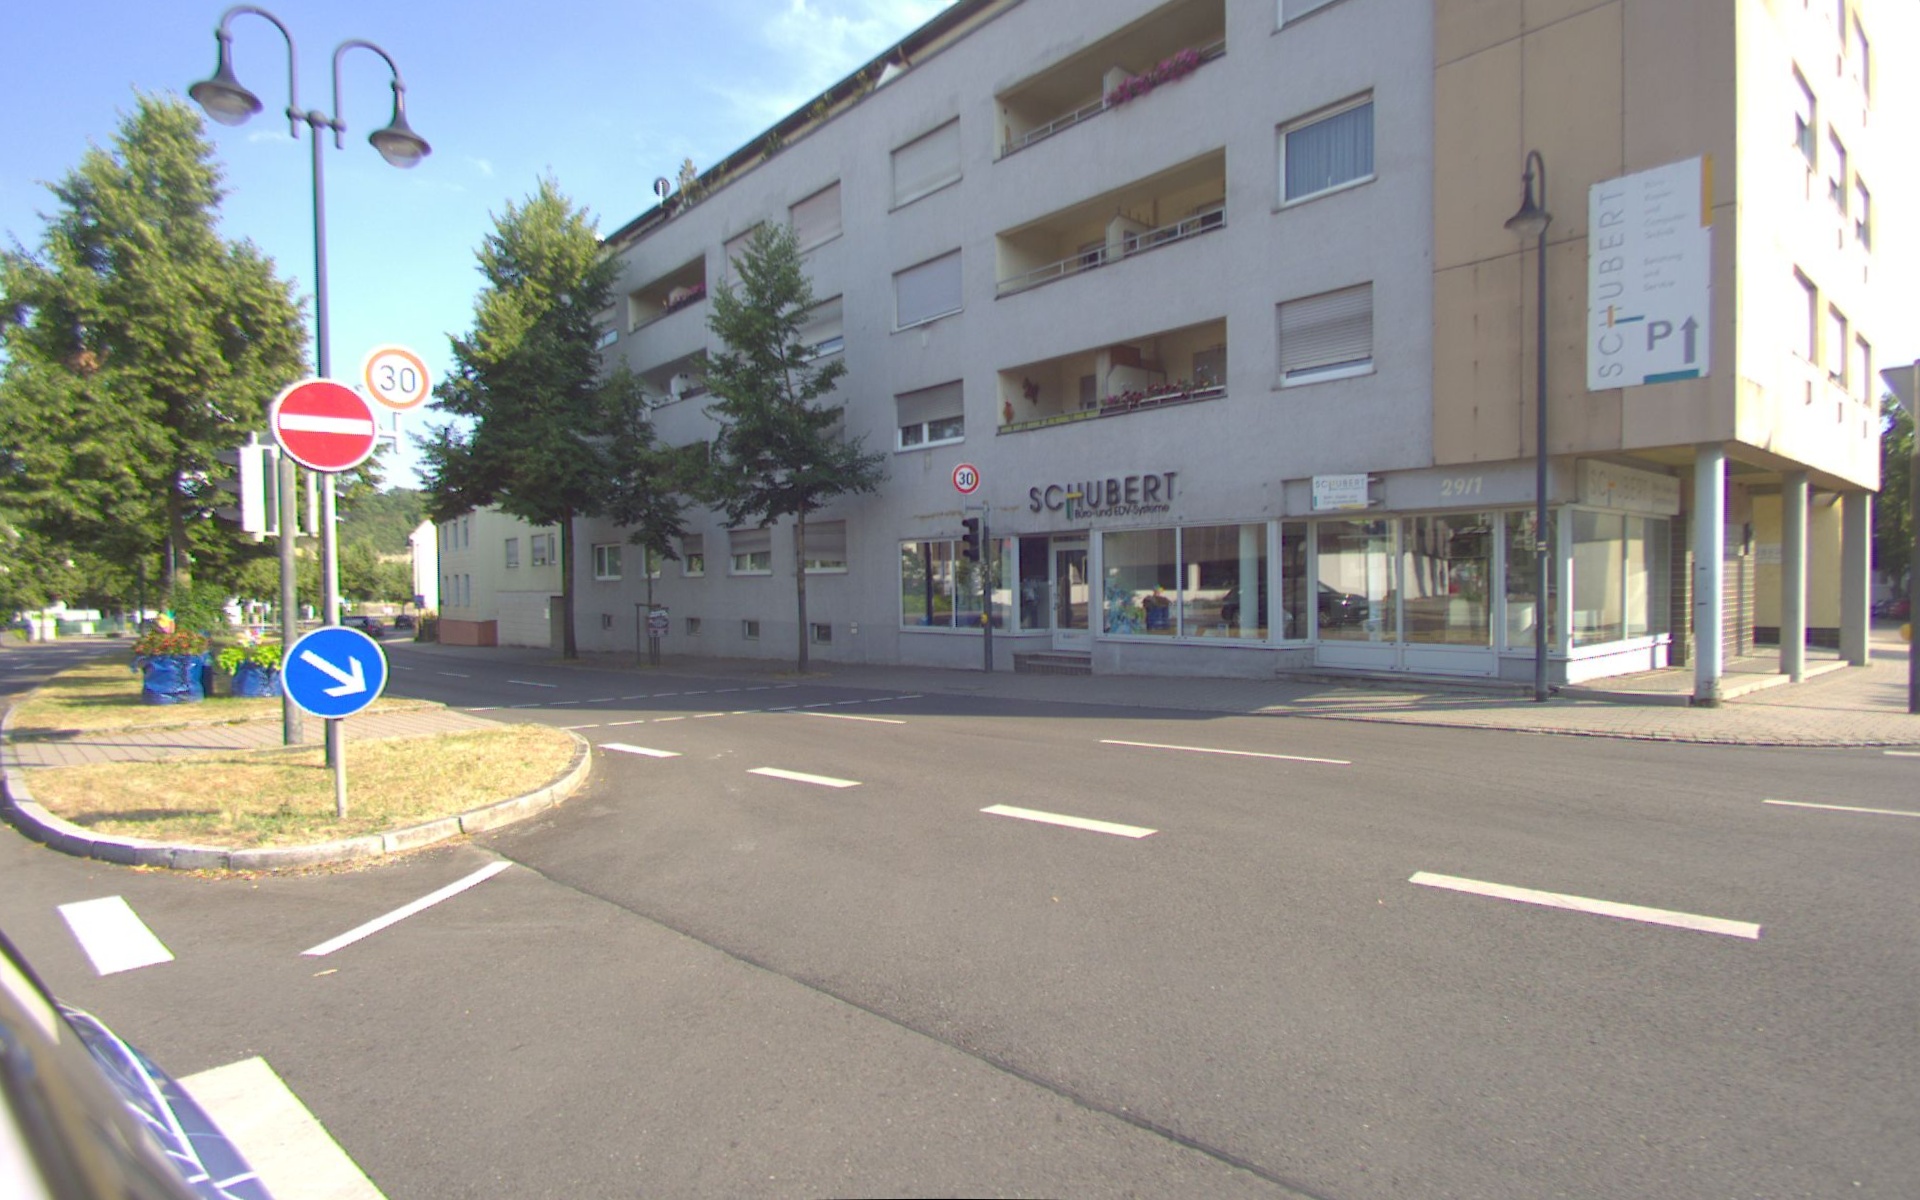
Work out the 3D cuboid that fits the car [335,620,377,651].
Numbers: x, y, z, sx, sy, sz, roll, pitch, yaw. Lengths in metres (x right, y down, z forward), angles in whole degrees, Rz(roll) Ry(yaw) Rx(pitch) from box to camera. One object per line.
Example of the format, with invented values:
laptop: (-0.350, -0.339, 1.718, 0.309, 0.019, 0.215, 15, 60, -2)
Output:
car: (-35.031, 2.017, 58.635, 1.827, 1.750, 4.935, 0, -1, -34)
